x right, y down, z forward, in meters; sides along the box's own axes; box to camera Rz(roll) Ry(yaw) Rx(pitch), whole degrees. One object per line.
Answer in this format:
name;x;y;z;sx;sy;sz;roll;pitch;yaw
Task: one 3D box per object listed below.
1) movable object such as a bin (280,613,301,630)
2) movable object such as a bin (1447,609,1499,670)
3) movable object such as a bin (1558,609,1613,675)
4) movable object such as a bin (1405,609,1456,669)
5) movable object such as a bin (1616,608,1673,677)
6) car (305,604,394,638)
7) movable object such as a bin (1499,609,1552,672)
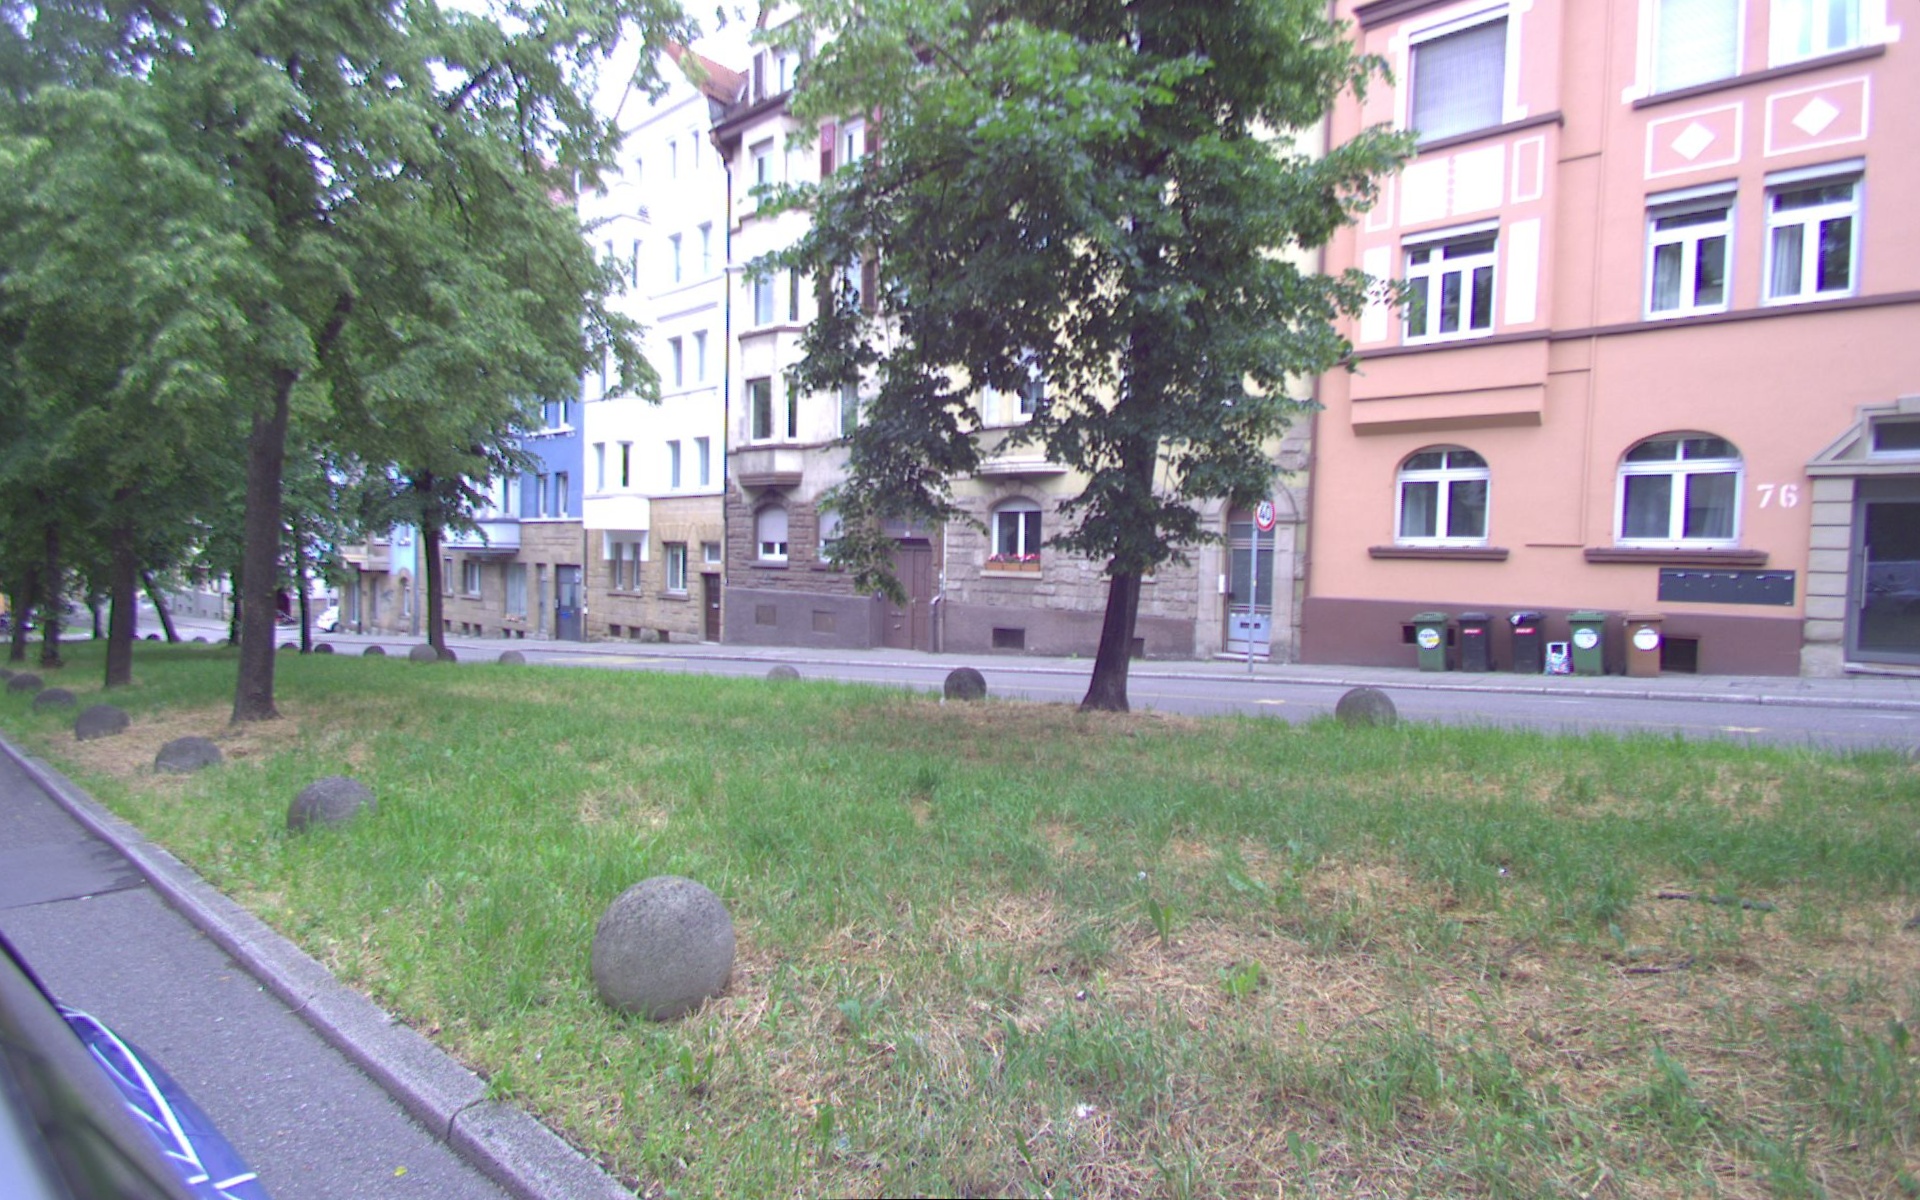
movable object such as a bin;-41.501;1.343;62.714;0.668;1.001;0.876;0;3;41
movable object such as a bin;8.001;0.607;15.769;0.601;0.911;0.603;-1;1;38
movable object such as a bin;9.075;0.594;14.682;0.601;0.911;0.603;-1;1;38
movable object such as a bin;7.517;0.613;16.179;0.601;0.911;0.603;-1;1;38
movable object such as a bin;9.614;0.589;14.210;0.601;0.911;0.603;-1;1;38
car;-35.403;1.182;58.769;1.870;1.480;3.959;2;7;39
movable object such as a bin;8.533;0.601;15.268;0.601;0.911;0.603;-1;1;38
